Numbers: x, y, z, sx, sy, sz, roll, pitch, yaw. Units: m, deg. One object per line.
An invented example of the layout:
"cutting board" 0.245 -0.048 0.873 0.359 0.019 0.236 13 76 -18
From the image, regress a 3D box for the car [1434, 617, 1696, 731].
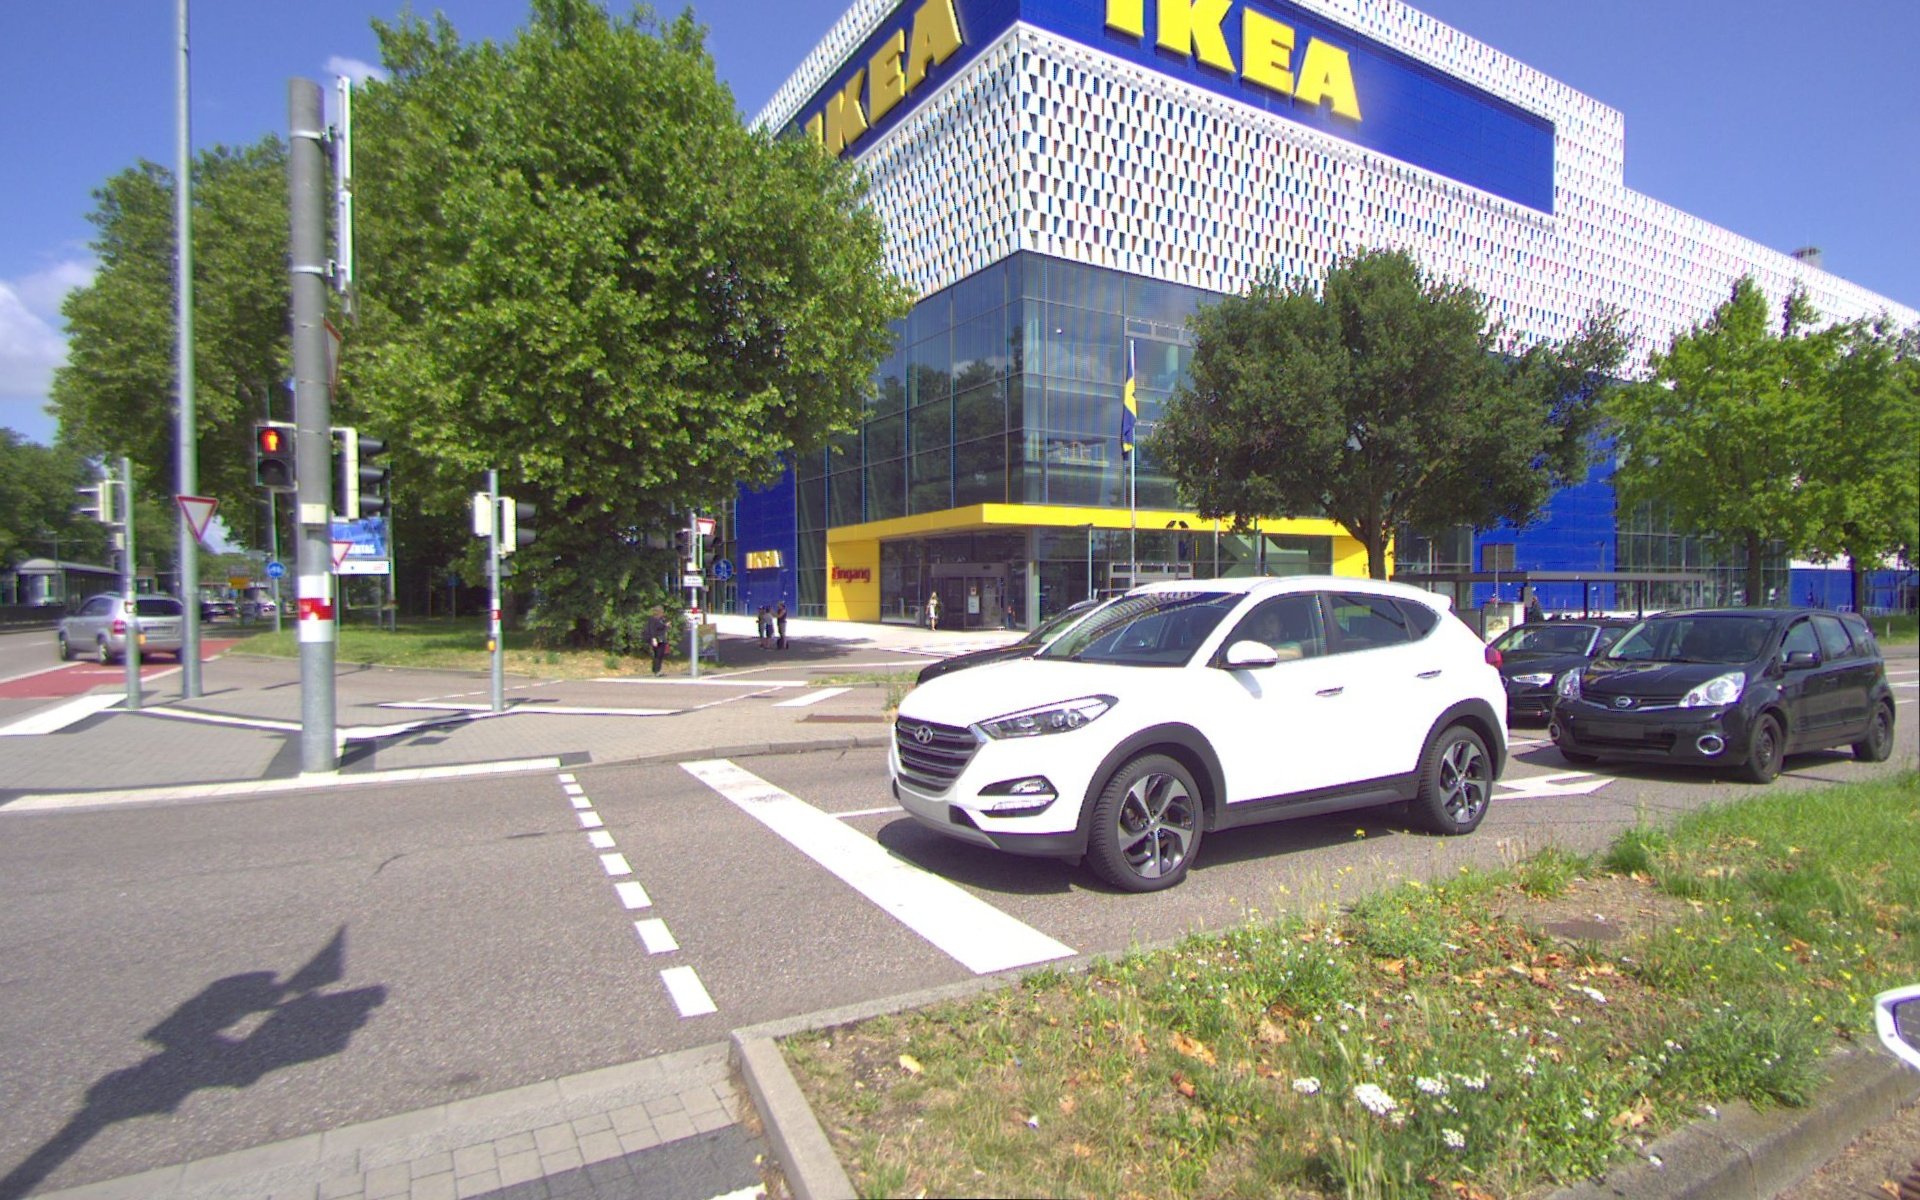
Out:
"car" 8.572 0.962 14.151 4.048 1.410 1.405 1 -2 -30

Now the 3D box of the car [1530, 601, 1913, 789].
"car" 7.519 0.803 9.824 4.085 1.513 1.596 1 -1 -31

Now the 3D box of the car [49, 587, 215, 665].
"car" -20.767 0.571 25.169 4.177 1.747 2.017 1 2 32

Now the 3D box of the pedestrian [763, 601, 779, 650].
"pedestrian" -6.775 0.895 36.004 0.446 1.726 0.400 -1 2 -36

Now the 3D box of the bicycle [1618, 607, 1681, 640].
"bicycle" 26.813 0.899 39.097 0.622 1.199 1.915 -1 2 -30

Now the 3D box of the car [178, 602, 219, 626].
"car" -53.486 0.967 70.610 1.979 1.617 3.963 0 0 -34

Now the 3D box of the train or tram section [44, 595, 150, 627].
"train or tram section" -92.397 1.171 108.266 4.478 3.072 24.920 0 0 -31

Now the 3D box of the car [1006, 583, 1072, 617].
"car" 4.878 -0.010 62.604 1.979 2.040 4.162 0 0 -34

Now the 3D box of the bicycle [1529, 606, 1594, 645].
"bicycle" 21.631 0.904 36.153 0.622 1.290 1.915 -1 2 -30

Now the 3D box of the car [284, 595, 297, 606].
"car" -119.609 0.102 179.534 1.845 2.040 3.964 1 0 -33

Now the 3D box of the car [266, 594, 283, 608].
"car" -98.872 0.177 144.858 1.845 2.040 3.964 1 0 -33

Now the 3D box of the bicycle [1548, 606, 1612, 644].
"bicycle" 22.621 0.881 36.709 0.622 1.290 1.915 -1 2 -30

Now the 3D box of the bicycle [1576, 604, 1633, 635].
"bicycle" 26.506 0.778 41.338 0.622 1.200 1.915 -1 2 -30

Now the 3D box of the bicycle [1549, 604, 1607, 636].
"bicycle" 24.820 0.788 40.394 0.622 1.195 1.915 -1 2 -30

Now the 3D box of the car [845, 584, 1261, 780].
"car" 1.003 0.760 10.199 3.954 1.636 1.761 2 -2 -31

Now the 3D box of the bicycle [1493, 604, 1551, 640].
"bicycle" 21.553 0.829 38.563 0.622 1.290 1.915 -1 2 -30

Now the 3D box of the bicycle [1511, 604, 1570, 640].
"bicycle" 22.478 0.831 38.953 0.622 1.290 1.915 -1 2 -30

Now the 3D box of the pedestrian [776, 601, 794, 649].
"pedestrian" -6.306 0.897 36.281 0.512 1.726 0.406 -1 2 -36

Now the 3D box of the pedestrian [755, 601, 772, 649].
"pedestrian" -7.222 0.915 36.852 0.406 1.726 0.522 -1 2 -39

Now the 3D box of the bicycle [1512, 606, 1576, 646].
"bicycle" 20.569 0.904 35.414 0.622 1.290 1.915 -1 2 -30

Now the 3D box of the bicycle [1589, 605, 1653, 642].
"bicycle" 24.819 0.867 37.767 0.622 1.290 1.915 -1 2 -30

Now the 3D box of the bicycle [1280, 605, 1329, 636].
"bicycle" 13.981 0.819 40.809 0.523 1.226 1.922 0 1 -34

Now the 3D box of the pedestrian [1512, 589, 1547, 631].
"pedestrian" 24.131 0.422 42.559 0.876 1.725 0.945 0 2 -30

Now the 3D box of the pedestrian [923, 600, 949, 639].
"pedestrian" -1.060 0.856 44.688 0.883 1.729 0.708 1 1 34

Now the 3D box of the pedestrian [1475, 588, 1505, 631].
"pedestrian" 23.236 0.412 44.056 0.876 1.847 0.750 0 2 -30

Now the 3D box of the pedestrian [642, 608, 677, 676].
"pedestrian" -6.766 0.932 22.585 0.432 1.510 0.616 2 1 43

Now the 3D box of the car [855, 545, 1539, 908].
"car" 1.651 0.628 6.407 4.328 1.641 1.699 1 -2 -32

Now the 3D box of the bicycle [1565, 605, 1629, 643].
"bicycle" 23.561 0.880 37.198 0.622 1.290 1.915 -1 2 -30

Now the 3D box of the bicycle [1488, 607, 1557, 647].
"bicycle" 19.477 0.907 34.823 0.622 1.290 2.079 -1 2 -30
